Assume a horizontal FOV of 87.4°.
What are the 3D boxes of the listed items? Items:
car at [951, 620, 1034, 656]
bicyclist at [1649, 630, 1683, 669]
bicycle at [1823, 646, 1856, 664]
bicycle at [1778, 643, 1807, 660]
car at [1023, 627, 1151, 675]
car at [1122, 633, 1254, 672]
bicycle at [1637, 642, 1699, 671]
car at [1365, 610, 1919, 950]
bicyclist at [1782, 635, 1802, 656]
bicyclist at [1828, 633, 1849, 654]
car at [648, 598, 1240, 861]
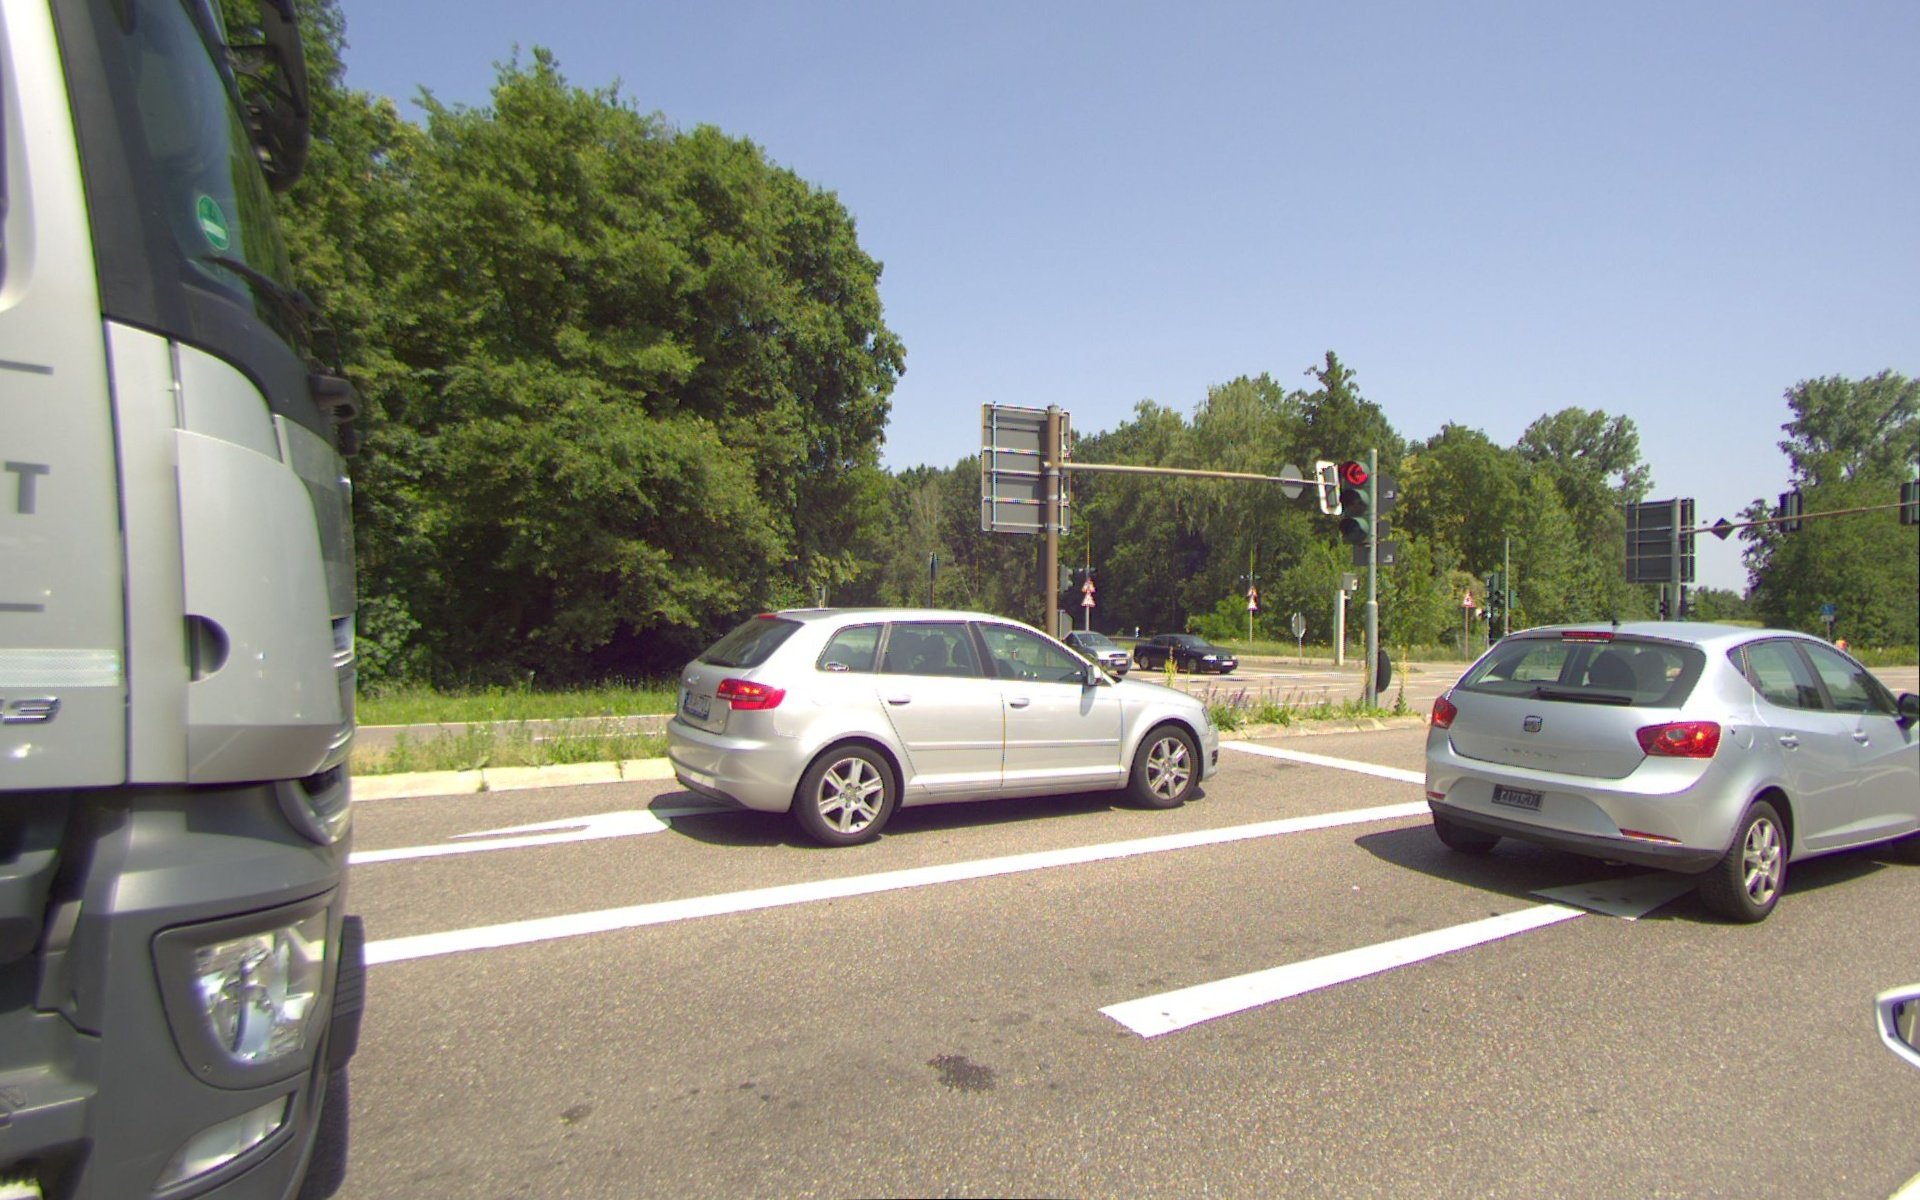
[{"bbox_3d":[1.508,1.816,48.511,1.974,1.657,4.788,1,-2,-27],"label":"car"},{"bbox_3d":[27.305,1.905,38.865,0.701,1.479,0.927,0,-1,7],"label":"bicyclist"},{"bbox_3d":[51.477,3.199,58.783,1.773,1.018,0.675,1,-2,-21],"label":"bicycle"},{"bbox_3d":[49.070,3.039,59.203,1.531,1.019,0.604,1,-2,-20],"label":"bicycle"},{"bbox_3d":[4.429,1.758,35.927,2.105,1.588,4.782,1,-2,-30],"label":"car"},{"bbox_3d":[8.261,1.875,36.899,2.081,1.307,4.783,1,-2,-30],"label":"car"},{"bbox_3d":[27.357,2.187,38.841,1.831,1.077,0.725,0,-1,7],"label":"bicycle"},{"bbox_3d":[4.399,0.834,6.064,3.783,1.449,1.657,1,0,-30],"label":"car"},{"bbox_3d":[49.021,2.670,59.177,0.583,1.211,0.735,1,-2,-19],"label":"bicyclist"},{"bbox_3d":[51.408,2.564,58.783,0.583,1.211,0.756,1,-2,-20],"label":"bicyclist"},{"bbox_3d":[-0.018,0.736,7.277,3.971,1.410,1.755,1,0,-33],"label":"car"}]
